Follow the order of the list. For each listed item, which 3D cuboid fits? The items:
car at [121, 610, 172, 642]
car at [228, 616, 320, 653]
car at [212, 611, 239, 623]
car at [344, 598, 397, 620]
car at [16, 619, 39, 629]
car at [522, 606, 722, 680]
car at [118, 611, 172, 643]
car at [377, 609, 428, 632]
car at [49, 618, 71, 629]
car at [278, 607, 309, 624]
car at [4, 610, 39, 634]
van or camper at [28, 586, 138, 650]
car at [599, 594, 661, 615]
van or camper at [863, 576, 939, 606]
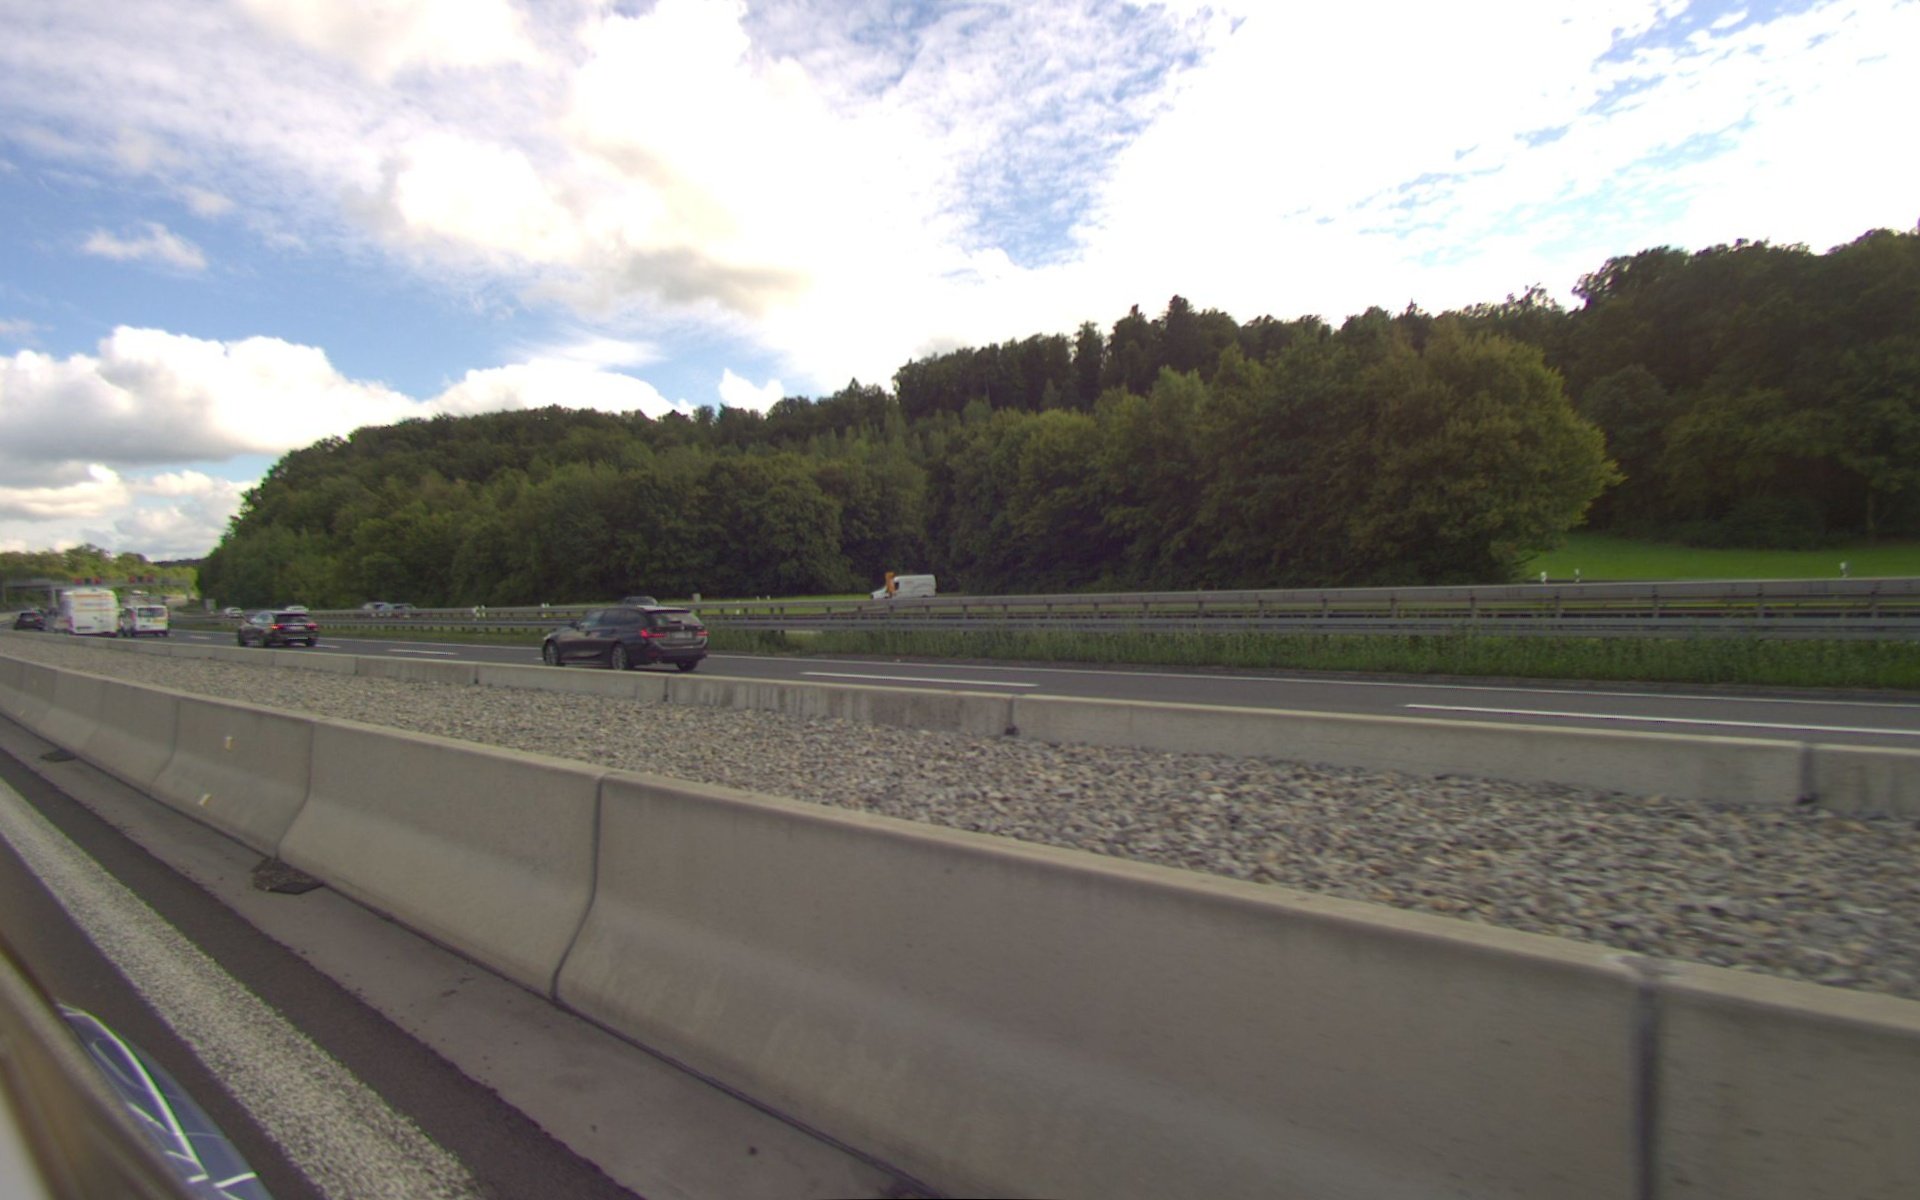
[{"bbox_3d":[-50.790,1.606,63.159,4.242,1.828,1.971,-1,0,44],"label":"car"},{"bbox_3d":[-28.601,1.394,42.130,5.233,1.432,1.864,-1,-1,41],"label":"car"},{"bbox_3d":[-94.652,2.163,130.419,4.622,1.442,1.764,-1,0,41],"label":"car"},{"bbox_3d":[-52.154,0.812,89.468,5.239,1.784,2.369,-1,0,40],"label":"car"},{"bbox_3d":[-130.821,3.385,141.952,5.610,1.347,2.023,-1,0,44],"label":"car"},{"bbox_3d":[-7.533,0.906,22.293,4.991,1.428,1.767,-1,0,39],"label":"car"},{"bbox_3d":[-51.161,1.671,63.497,5.287,1.920,1.893,-1,-1,43],"label":"car"},{"bbox_3d":[-34.929,1.285,63.375,3.755,1.330,1.621,-1,1,41],"label":"car"},{"bbox_3d":[-120.629,3.173,135.601,4.230,1.347,1.847,-1,0,44],"label":"car"},{"bbox_3d":[-71.845,1.676,109.091,1.913,1.684,5.229,-1,0,-43],"label":"car"},{"bbox_3d":[-81.028,1.926,87.366,5.151,1.934,1.971,-1,0,45],"label":"car"},{"bbox_3d":[-44.272,0.886,51.007,7.465,2.938,3.299,-1,1,43],"label":"van or camper"},{"bbox_3d":[-25.632,0.353,78.661,4.254,1.461,1.727,-2,0,8],"label":"car"},{"bbox_3d":[-4.747,-0.739,81.619,5.633,2.265,2.113,-2,0,-23],"label":"van or camper"}]
